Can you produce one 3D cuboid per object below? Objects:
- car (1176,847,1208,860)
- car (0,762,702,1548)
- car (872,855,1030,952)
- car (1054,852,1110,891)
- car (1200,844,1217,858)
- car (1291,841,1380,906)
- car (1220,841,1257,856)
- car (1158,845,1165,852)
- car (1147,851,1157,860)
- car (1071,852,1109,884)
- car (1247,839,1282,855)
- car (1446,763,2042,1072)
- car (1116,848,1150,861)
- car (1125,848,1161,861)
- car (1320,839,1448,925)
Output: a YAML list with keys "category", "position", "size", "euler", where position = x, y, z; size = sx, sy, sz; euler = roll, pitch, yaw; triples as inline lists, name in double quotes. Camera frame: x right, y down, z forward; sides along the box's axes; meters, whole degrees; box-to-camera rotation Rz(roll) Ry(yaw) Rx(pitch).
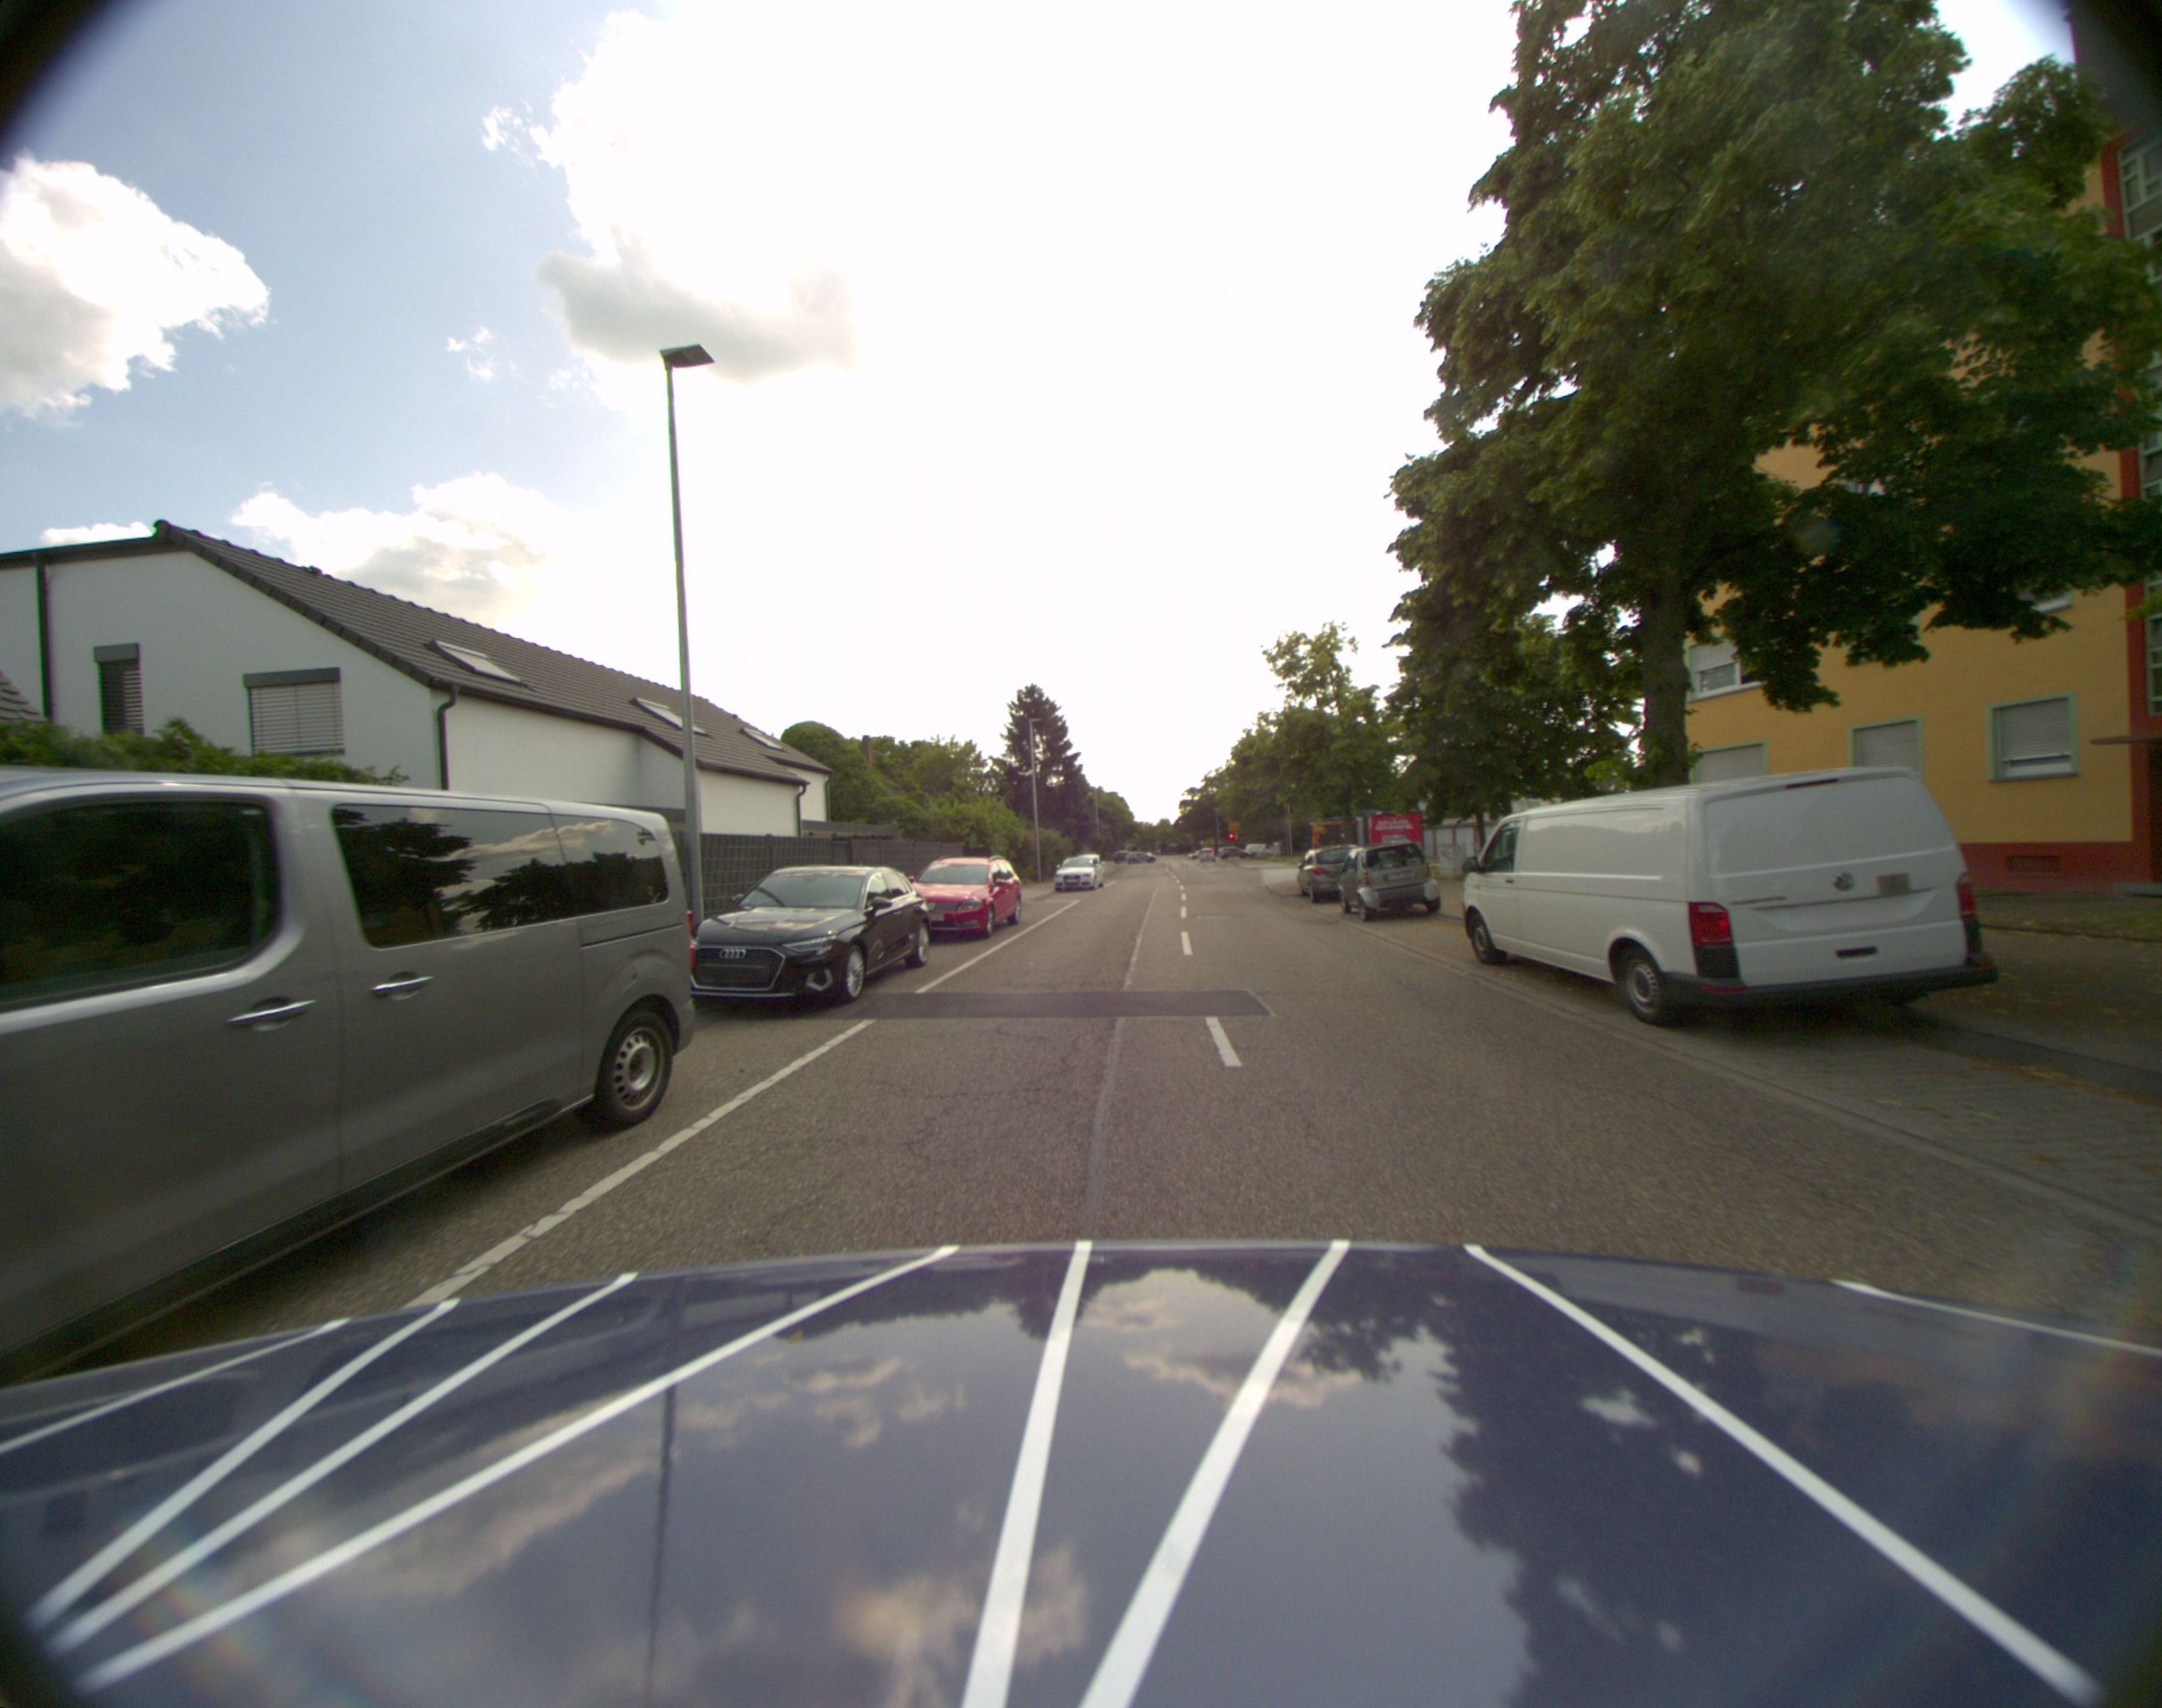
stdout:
- category: "car"
  position: [17.016, -0.111, 116.559]
  size: [4.535, 1.767, 1.727]
  euler: [-3, 1, -10]
- category: "car"
  position: [-3.541, 0.737, 2.543]
  size: [1.846, 1.933, 4.877]
  euler: [0, 0, 3]
- category: "car"
  position: [-2.435, 0.871, 15.584]
  size: [1.853, 1.570, 4.734]
  euler: [-2, 0, 7]
- category: "car"
  position: [0.103, 0.720, 32.706]
  size: [1.724, 1.478, 3.751]
  euler: [-2, 0, 10]
- category: "car"
  position: [14.154, -0.325, 84.538]
  size: [1.557, 1.508, 3.610]
  euler: [-3, 1, 7]
- category: "car"
  position: [7.195, 0.489, 21.863]
  size: [1.687, 1.478, 3.985]
  euler: [-5, 1, 9]
- category: "car"
  position: [21.390, -0.697, 103.397]
  size: [4.533, 1.767, 1.728]
  euler: [-3, 1, -4]
- category: "car"
  position: [19.856, -1.309, 187.364]
  size: [1.729, 1.421, 4.000]
  euler: [-1, 2, 5]
- category: "car"
  position: [12.747, 0.208, 137.052]
  size: [1.729, 1.421, 4.000]
  euler: [-1, 2, 5]
- category: "car"
  position: [0.526, 0.698, 40.444]
  size: [1.584, 1.511, 3.757]
  euler: [-2, 0, 7]
- category: "car"
  position: [26.056, -1.011, 108.066]
  size: [4.533, 1.941, 1.728]
  euler: [-3, 1, -4]
- category: "car"
  position: [5.611, 0.429, 7.664]
  size: [1.883, 1.998, 5.325]
  euler: [-2, 0, 8]
- category: "car"
  position: [7.258, 0.040, 106.086]
  size: [4.533, 1.513, 1.728]
  euler: [-3, 1, -4]
- category: "car"
  position: [8.282, 0.041, 102.195]
  size: [4.533, 1.450, 1.728]
  euler: [-3, 1, -4]
- category: "car"
  position: [6.629, 0.552, 17.028]
  size: [1.521, 1.540, 3.757]
  euler: [-8, -1, 6]
